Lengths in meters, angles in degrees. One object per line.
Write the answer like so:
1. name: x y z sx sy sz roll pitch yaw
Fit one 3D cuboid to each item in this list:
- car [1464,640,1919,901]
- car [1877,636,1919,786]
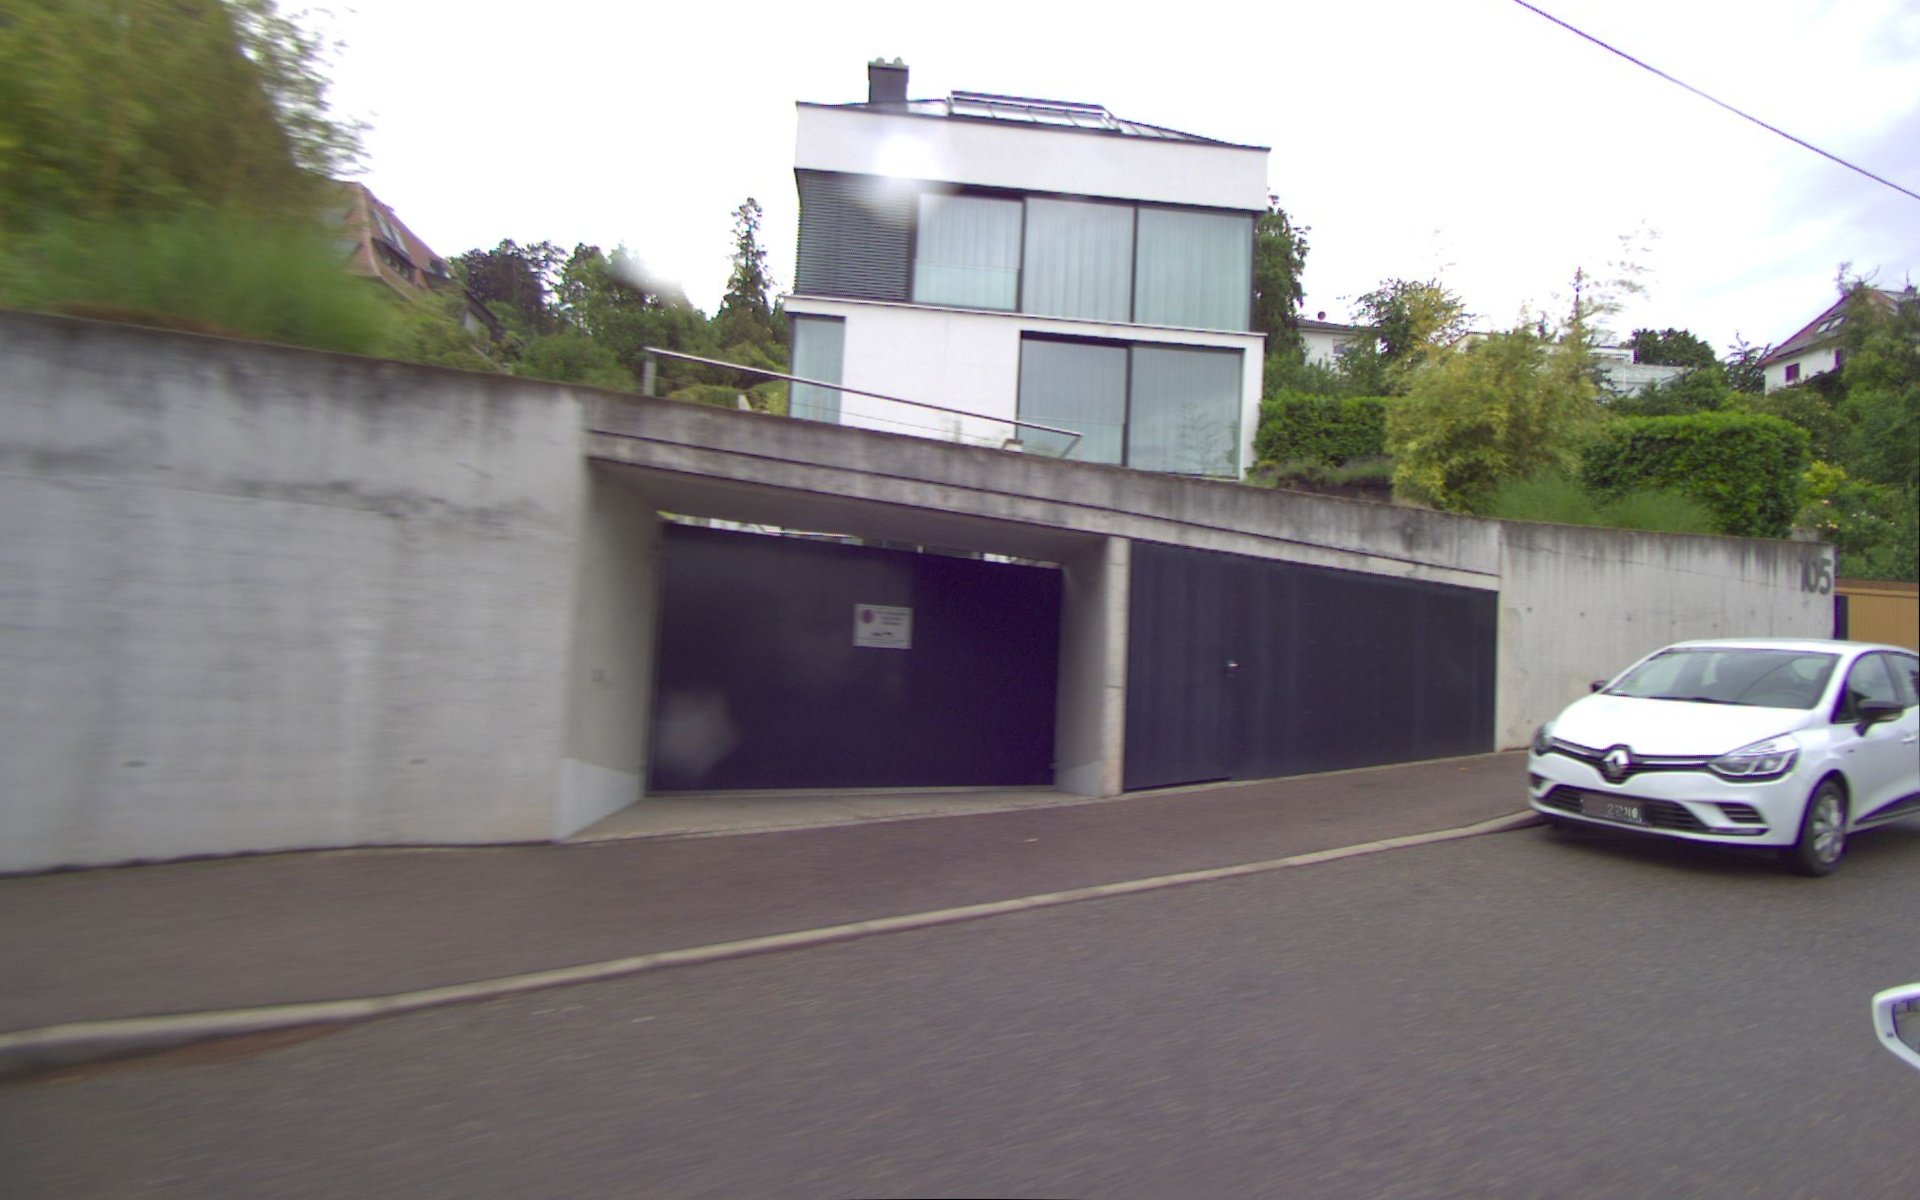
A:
1. car: 5.844 1.043 7.487 3.991 1.459 1.824 1 -2 -29
2. car: 11.809 1.141 10.529 4.621 1.478 1.707 1 -2 -26
